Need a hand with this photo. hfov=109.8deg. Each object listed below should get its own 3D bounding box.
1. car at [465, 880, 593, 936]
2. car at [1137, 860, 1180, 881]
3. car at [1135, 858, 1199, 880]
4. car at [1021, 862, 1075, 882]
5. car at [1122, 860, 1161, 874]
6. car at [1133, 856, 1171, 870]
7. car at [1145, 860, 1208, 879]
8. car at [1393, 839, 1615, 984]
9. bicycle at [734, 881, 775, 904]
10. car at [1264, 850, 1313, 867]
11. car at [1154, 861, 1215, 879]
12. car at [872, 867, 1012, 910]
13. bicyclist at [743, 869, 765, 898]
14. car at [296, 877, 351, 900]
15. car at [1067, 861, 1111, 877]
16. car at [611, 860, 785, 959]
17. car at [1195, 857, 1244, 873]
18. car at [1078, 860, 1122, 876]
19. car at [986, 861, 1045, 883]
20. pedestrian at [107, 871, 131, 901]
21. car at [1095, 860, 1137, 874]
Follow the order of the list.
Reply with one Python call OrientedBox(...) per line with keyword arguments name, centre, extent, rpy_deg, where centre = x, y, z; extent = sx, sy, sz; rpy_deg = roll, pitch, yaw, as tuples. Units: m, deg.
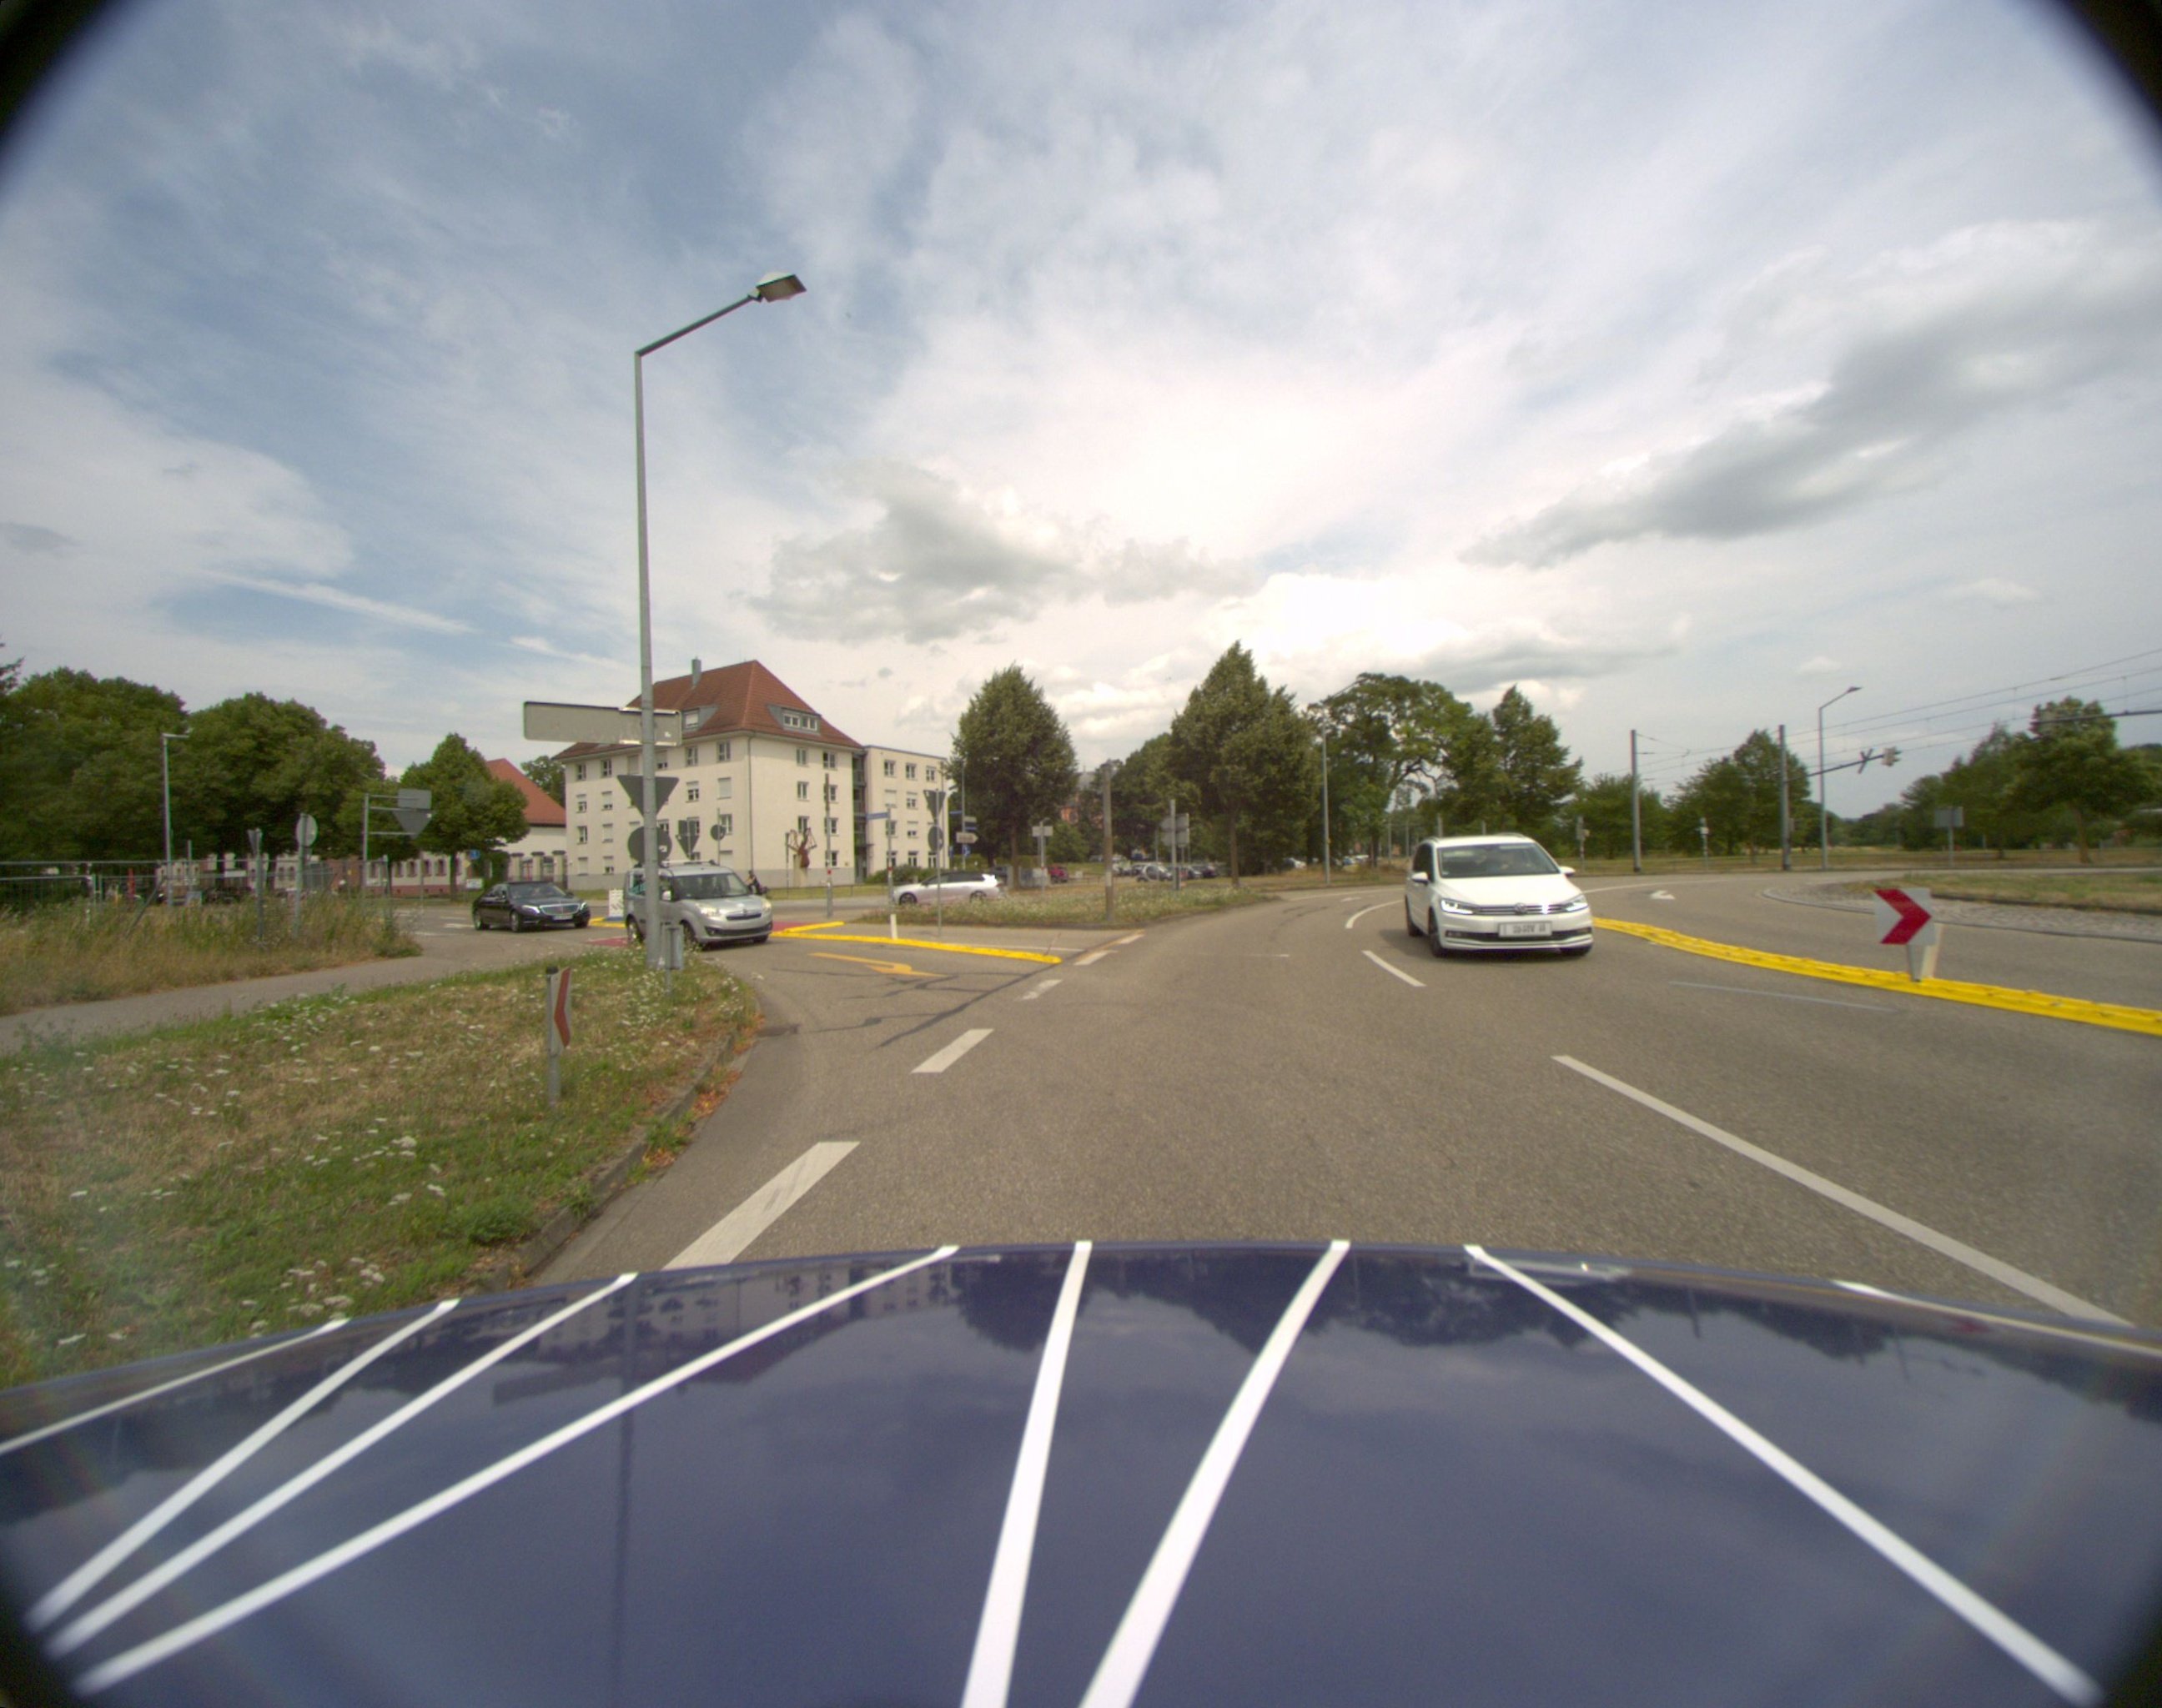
OrientedBox(name="car", centre=(-17.354, 1.651, 23.798), extent=(4.856, 1.495, 1.822), rpy_deg=(-3, 0, 36))
OrientedBox(name="car", centre=(5.981, 1.282, 58.789), extent=(2.910, 1.414, 1.486), rpy_deg=(-4, -2, 22))
OrientedBox(name="car", centre=(6.924, 1.209, 61.166), extent=(4.696, 1.462, 1.836), rpy_deg=(-4, -1, 26))
OrientedBox(name="car", centre=(-3.004, 1.614, 68.089), extent=(4.396, 1.588, 2.004), rpy_deg=(-2, 0, 29))
OrientedBox(name="car", centre=(6.866, 1.444, 85.972), extent=(3.997, 1.459, 1.821), rpy_deg=(-2, 0, 27))
OrientedBox(name="car", centre=(8.458, 1.071, 90.444), extent=(3.997, 1.565, 1.821), rpy_deg=(-2, 0, 27))
OrientedBox(name="car", centre=(7.967, 1.344, 63.754), extent=(4.876, 1.463, 1.836), rpy_deg=(-2, 0, 29))
OrientedBox(name="car", centre=(5.841, 0.677, 11.113), extent=(1.935, 1.656, 4.360), rpy_deg=(-3, 0, 18))
OrientedBox(name="bicycle", centre=(-16.443, 1.941, 38.335), extent=(0.600, 1.040, 1.833), rpy_deg=(-2, 0, 35))
OrientedBox(name="car", centre=(26.269, 0.580, 96.261), extent=(5.556, 2.044, 2.205), rpy_deg=(-2, 0, 29))
OrientedBox(name="car", centre=(8.994, 1.379, 65.935), extent=(4.876, 1.463, 1.836), rpy_deg=(-2, 0, 29))
OrientedBox(name="car", centre=(-5.468, 1.341, 30.448), extent=(5.180, 1.473, 2.000), rpy_deg=(-2, 0, 0))
OrientedBox(name="bicyclist", centre=(-16.488, 1.488, 38.299), extent=(0.600, 1.415, 0.805), rpy_deg=(-2, 0, 35))
OrientedBox(name="car", centre=(-55.205, 2.525, 55.370), extent=(4.208, 1.510, 1.632), rpy_deg=(-2, 0, 28))
OrientedBox(name="car", centre=(0.744, 1.441, 75.085), extent=(3.997, 1.459, 1.618), rpy_deg=(-2, 0, 27))
OrientedBox(name="car", centre=(-8.856, 1.166, 17.392), extent=(4.571, 1.936, 1.815), rpy_deg=(-2, 0, 40))
OrientedBox(name="car", centre=(13.580, 1.099, 74.529), extent=(4.376, 1.463, 1.836), rpy_deg=(-2, 0, 29))
OrientedBox(name="car", centre=(1.951, 1.409, 76.864), extent=(3.997, 1.459, 1.821), rpy_deg=(-2, 0, 27))
OrientedBox(name="car", centre=(-5.443, 1.501, 63.143), extent=(4.489, 1.754, 2.003), rpy_deg=(-2, 0, 27))
OrientedBox(name="pedestrian", centre=(-66.573, 2.211, 52.572), extent=(0.730, 2.002, 0.857), rpy_deg=(-2, 0, 30))
OrientedBox(name="car", centre=(3.679, 1.377, 80.349), extent=(3.997, 1.459, 1.821), rpy_deg=(-2, 0, 27))
